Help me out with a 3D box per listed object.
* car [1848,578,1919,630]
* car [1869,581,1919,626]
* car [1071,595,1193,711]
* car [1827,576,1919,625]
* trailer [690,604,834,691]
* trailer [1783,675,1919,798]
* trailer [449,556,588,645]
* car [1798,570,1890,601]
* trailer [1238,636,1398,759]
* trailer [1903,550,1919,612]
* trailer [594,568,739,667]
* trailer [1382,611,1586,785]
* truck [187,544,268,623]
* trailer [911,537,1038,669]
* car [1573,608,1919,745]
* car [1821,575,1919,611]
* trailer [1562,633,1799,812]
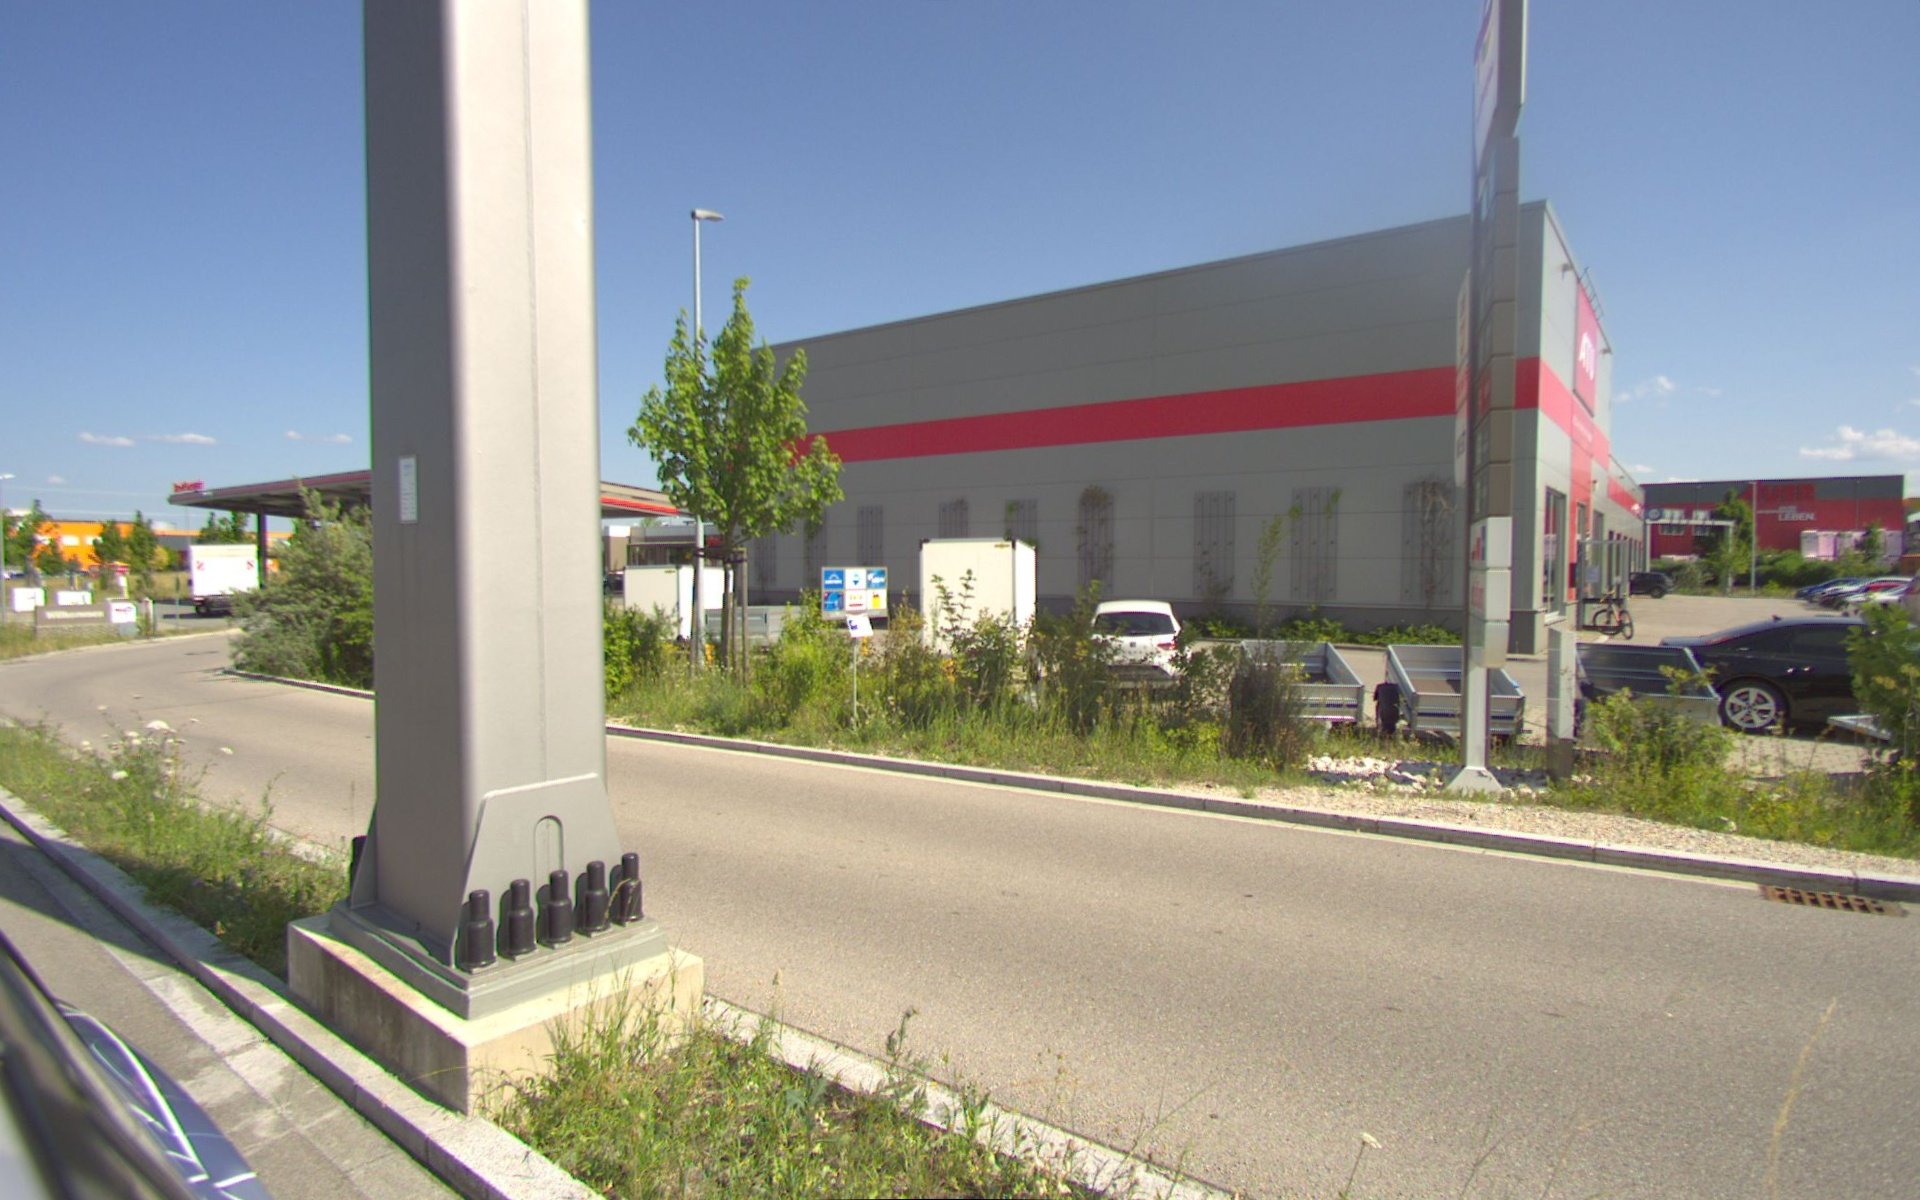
[{"bbox_3d":[32.015,0.109,33.623,3.691,1.662,1.721,0,2,40],"label":"car"},{"bbox_3d":[37.605,0.118,38.900,3.735,1.662,1.724,0,2,35],"label":"car"},{"bbox_3d":[2.822,0.755,16.463,1.700,1.547,3.987,-1,2,11],"label":"car"},{"bbox_3d":[33.104,-0.006,35.633,3.735,1.662,1.724,0,2,35],"label":"car"},{"bbox_3d":[-3.997,0.914,21.003,1.584,1.521,3.586,-1,1,13],"label":"trailer"},{"bbox_3d":[9.382,1.270,9.103,1.844,0.888,2.831,-1,2,8],"label":"trailer"},{"bbox_3d":[-10.883,-0.029,25.196,1.972,2.028,3.206,-1,1,1],"label":"trailer"},{"bbox_3d":[49.946,-0.829,57.277,3.735,1.662,1.724,0,2,35],"label":"car"},{"bbox_3d":[4.114,1.066,11.958,1.306,1.094,2.768,-1,2,10],"label":"trailer"},{"bbox_3d":[66.108,-1.225,62.945,2.522,4.185,12.374,-1,1,-5],"label":"trailer"},{"bbox_3d":[-6.375,0.329,22.270,1.980,2.028,2.726,-1,1,13],"label":"trailer"},{"bbox_3d":[5.647,0.947,11.243,1.536,1.494,3.171,-1,2,19],"label":"trailer"},{"bbox_3d":[-33.717,-0.760,46.468,2.600,3.343,6.919,-2,2,-39],"label":"truck"},{"bbox_3d":[0.339,0.010,17.371,1.728,2.028,3.231,-1,1,9],"label":"trailer"},{"bbox_3d":[10.629,0.883,12.976,4.495,1.494,1.779,-1,2,41],"label":"car"},{"bbox_3d":[43.949,-0.346,48.665,3.735,1.662,1.724,0,2,35],"label":"car"},{"bbox_3d":[7.056,1.094,10.177,1.381,1.332,2.889,-1,2,24],"label":"trailer"}]
